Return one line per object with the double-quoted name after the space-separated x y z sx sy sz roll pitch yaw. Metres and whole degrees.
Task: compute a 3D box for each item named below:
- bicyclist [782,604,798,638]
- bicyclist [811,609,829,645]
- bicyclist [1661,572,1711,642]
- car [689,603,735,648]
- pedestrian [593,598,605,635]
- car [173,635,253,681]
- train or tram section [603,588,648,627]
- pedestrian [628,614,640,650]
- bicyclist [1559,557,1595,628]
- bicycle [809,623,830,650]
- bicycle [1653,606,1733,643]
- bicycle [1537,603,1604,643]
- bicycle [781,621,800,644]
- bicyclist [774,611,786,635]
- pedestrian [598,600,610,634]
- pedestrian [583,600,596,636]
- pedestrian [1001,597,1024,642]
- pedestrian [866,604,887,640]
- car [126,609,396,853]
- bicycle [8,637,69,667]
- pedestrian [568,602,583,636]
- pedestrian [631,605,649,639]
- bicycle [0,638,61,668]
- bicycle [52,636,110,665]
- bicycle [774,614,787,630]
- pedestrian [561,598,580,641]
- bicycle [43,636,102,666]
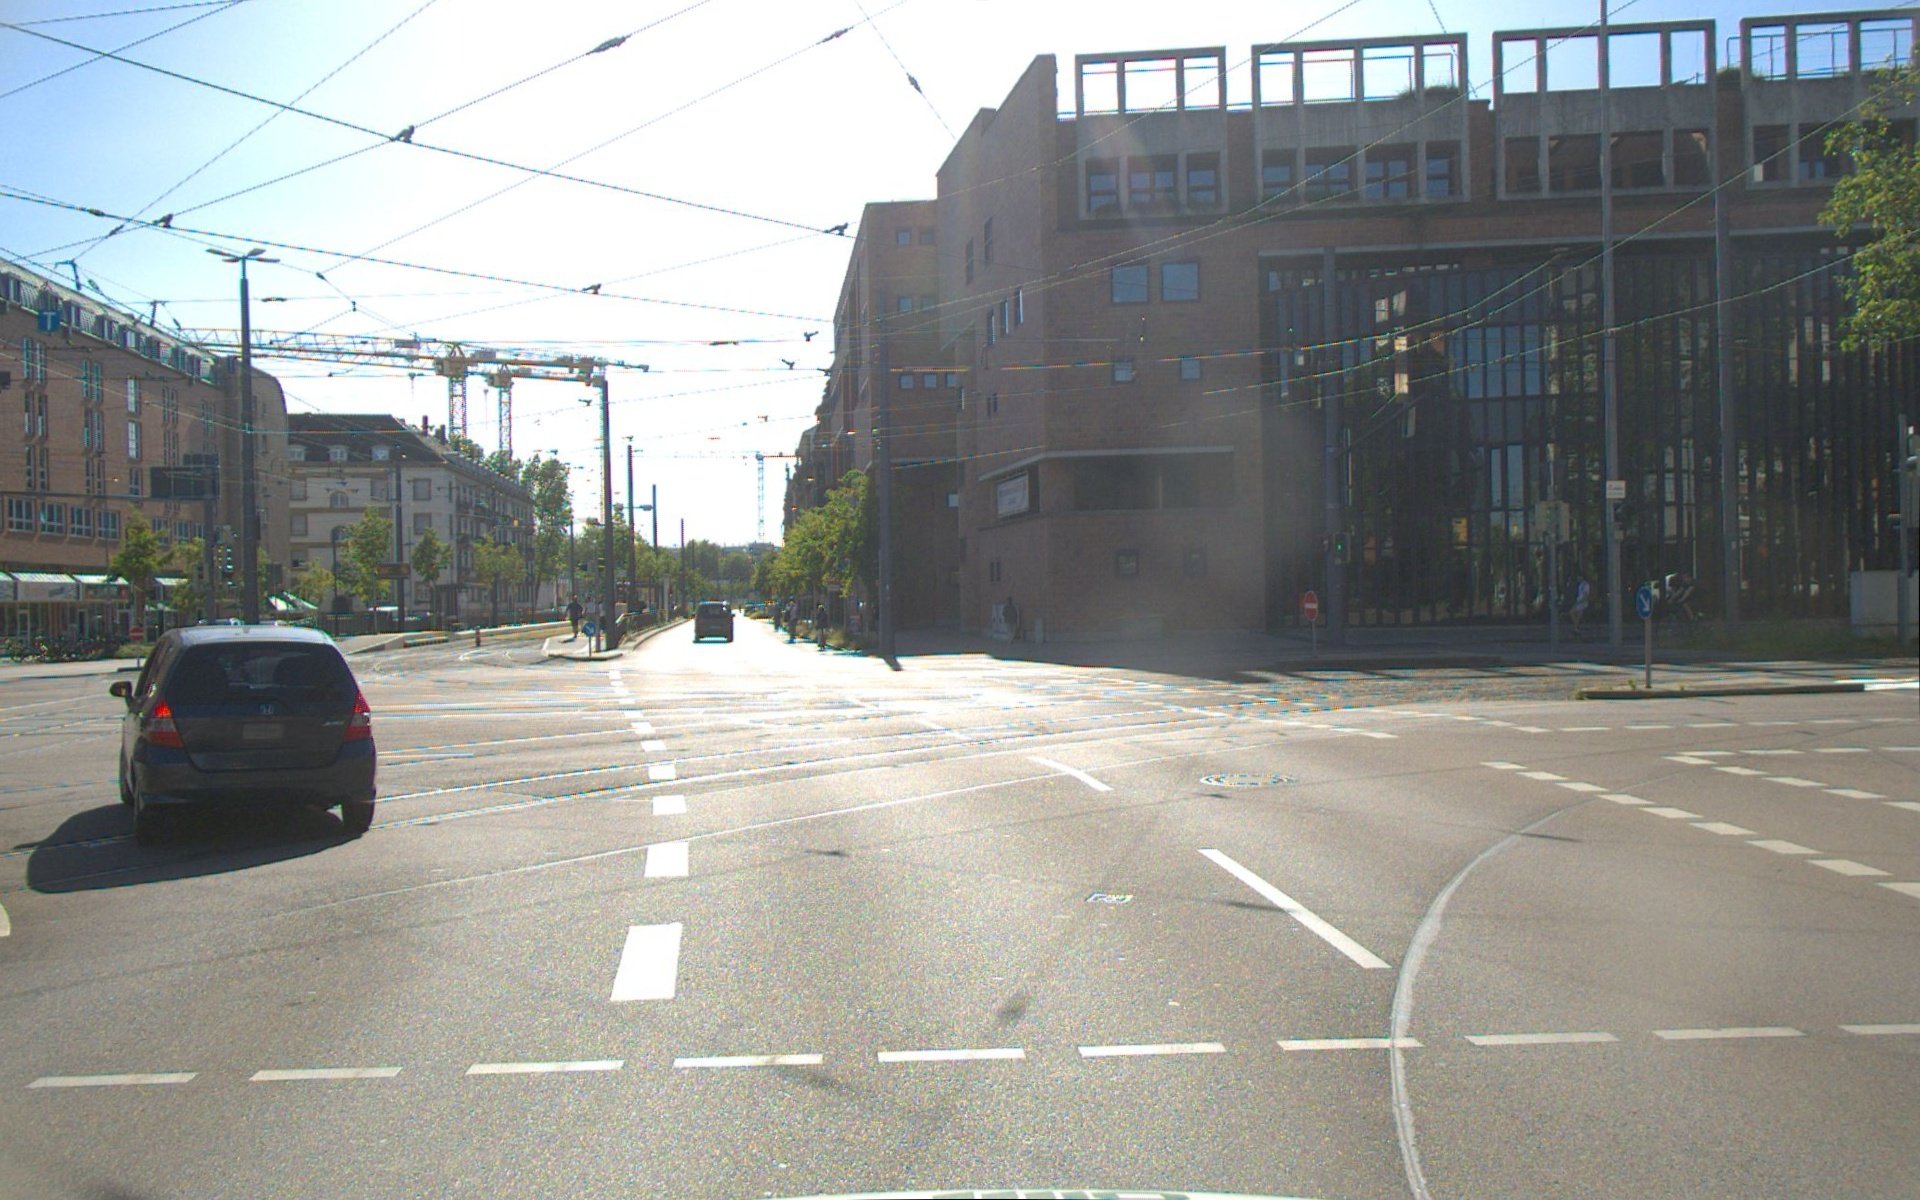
-7.812 0.953 76.118 0.655 1.553 0.705 -1 0 -11 "bicyclist"
-5.399 1.044 63.631 0.582 1.359 0.931 -1 0 -10 "bicyclist"
17.557 0.160 39.989 0.846 1.658 0.671 -2 0 -7 "bicyclist"
-11.626 1.157 77.388 1.958 1.982 3.990 -2 0 -10 "car"
-17.878 0.805 81.928 0.529 1.804 0.632 -2 0 -11 "pedestrian"
-28.104 2.169 62.340 1.580 1.422 3.912 -5 1 -8 "car"
-28.098 0.580 139.449 2.281 3.055 13.144 -1 0 -5 "train or tram section"
-15.310 1.512 77.710 0.529 1.684 0.705 -2 0 -10 "pedestrian"
16.916 -0.195 45.370 0.596 1.917 0.647 -2 0 -17 "bicyclist"
-5.434 1.413 63.850 0.592 1.002 2.309 -1 0 -10 "bicycle"
17.723 0.594 40.019 1.637 0.820 0.672 -2 0 -8 "bicycle"
16.729 0.624 45.312 1.642 1.012 0.670 -2 0 -17 "bicycle"
-7.785 1.492 76.029 0.655 1.002 2.579 -1 0 -10 "bicycle"
-11.551 1.477 106.150 0.655 1.553 0.705 -1 0 -11 "bicyclist"
-17.087 0.809 79.365 0.509 1.578 0.598 -2 0 -14 "pedestrian"
-17.409 0.836 77.666 0.501 1.684 0.760 -2 0 -10 "pedestrian"
1.899 0.686 59.641 0.606 1.590 0.984 -2 0 -11 "pedestrian"
-4.074 1.066 80.890 0.864 1.747 0.929 -2 0 -11 "pedestrian"
-5.651 0.903 13.151 1.706 1.591 3.645 -2 0 -27 "car"
-43.505 2.464 78.111 2.433 1.333 0.734 -2 0 1 "bicycle"
-18.011 0.897 77.559 0.589 1.594 0.911 -2 0 -10 "pedestrian"
-16.567 1.131 85.622 0.708 1.765 0.597 -1 0 -27 "pedestrian"
-43.197 2.455 76.826 2.433 1.333 0.734 -2 0 1 "bicycle"
-42.720 2.437 80.395 2.433 1.333 0.734 -2 0 1 "bicycle"
-11.523 1.408 106.085 0.655 1.002 2.579 -1 0 -10 "bicycle"
-16.107 0.795 68.363 0.603 1.698 0.862 -4 1 -11 "pedestrian"
-42.655 2.436 79.503 2.433 1.333 0.734 -2 0 1 "bicycle"
